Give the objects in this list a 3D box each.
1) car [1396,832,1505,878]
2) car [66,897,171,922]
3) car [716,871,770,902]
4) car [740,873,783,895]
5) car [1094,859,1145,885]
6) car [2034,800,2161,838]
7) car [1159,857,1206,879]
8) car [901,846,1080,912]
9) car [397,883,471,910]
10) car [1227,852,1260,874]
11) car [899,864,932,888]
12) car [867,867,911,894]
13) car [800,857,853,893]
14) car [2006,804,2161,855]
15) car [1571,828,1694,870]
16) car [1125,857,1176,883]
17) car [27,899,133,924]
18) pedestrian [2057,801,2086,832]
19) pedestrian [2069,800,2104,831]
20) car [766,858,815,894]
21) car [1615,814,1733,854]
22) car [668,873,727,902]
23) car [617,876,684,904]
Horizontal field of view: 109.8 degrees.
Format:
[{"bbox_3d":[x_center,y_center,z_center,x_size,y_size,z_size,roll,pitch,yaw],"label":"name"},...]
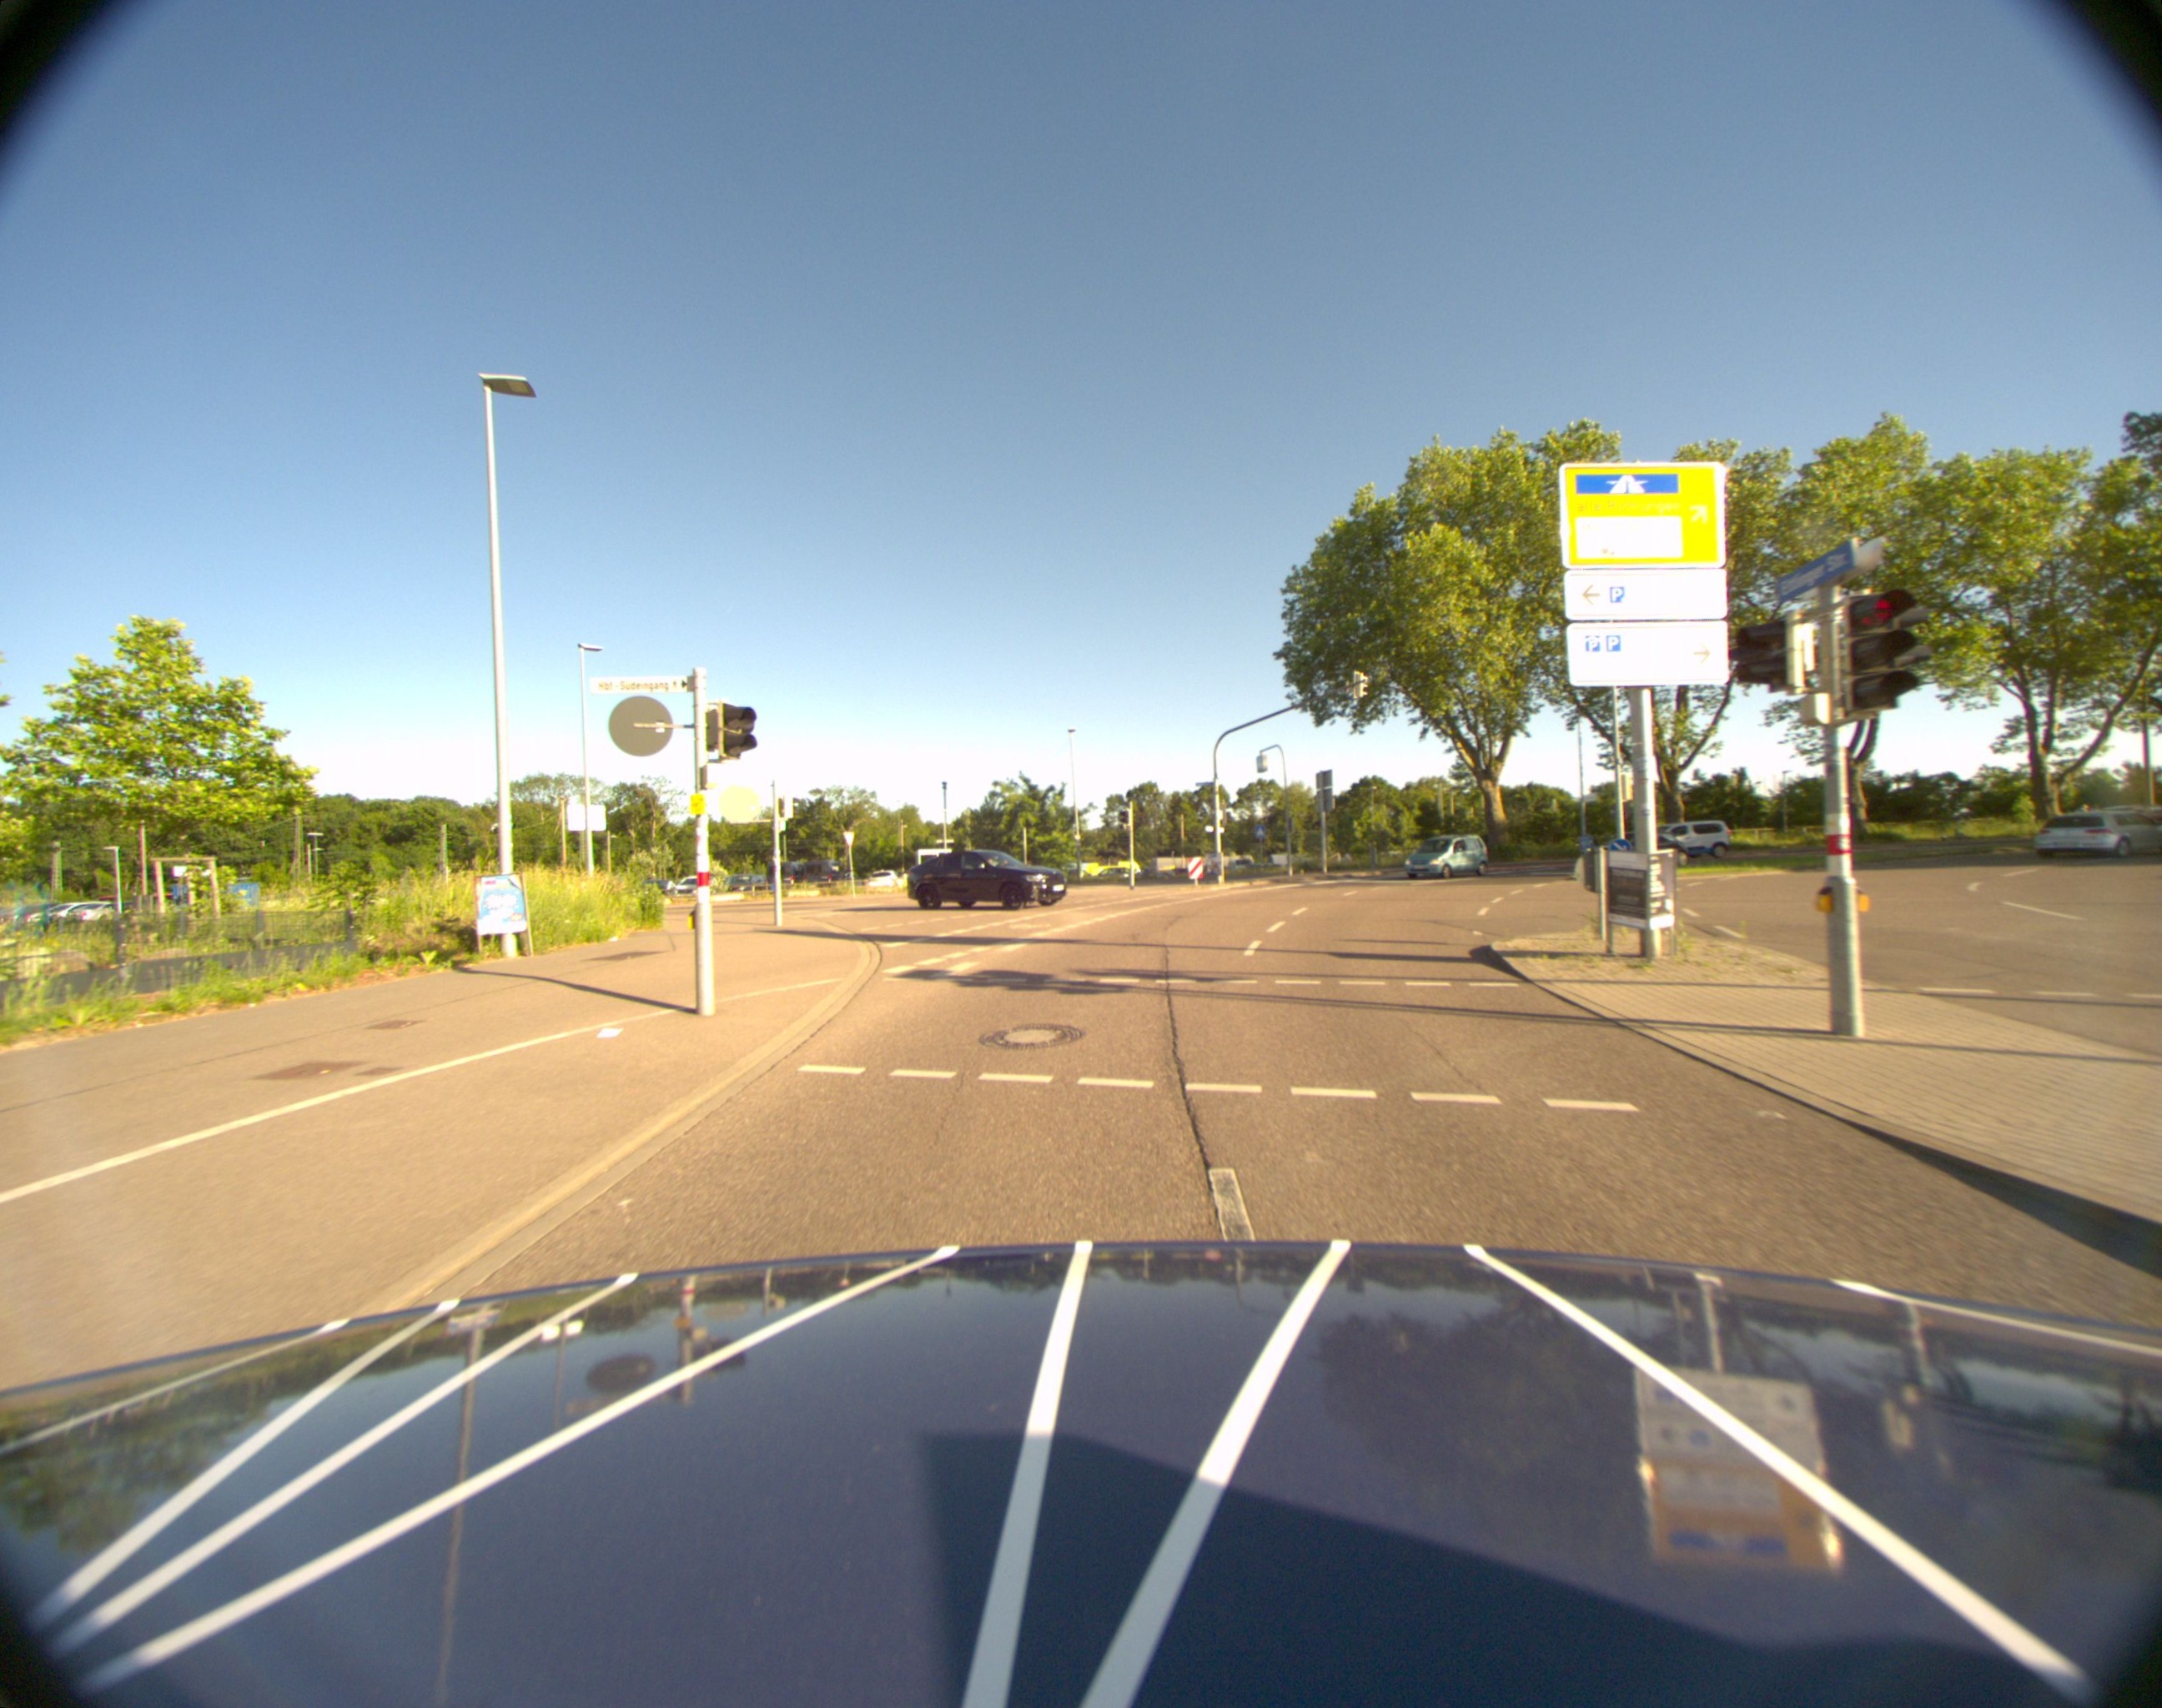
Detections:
[{"bbox_3d":[14.755,0.025,30.282,4.127,1.626,1.916,-3,1,-31],"label":"car"},{"bbox_3d":[-69.103,3.961,54.673,1.946,1.369,4.444,-3,1,-5],"label":"car"},{"bbox_3d":[-20.722,1.940,46.762,1.872,1.645,4.142,-3,0,-8],"label":"car"},{"bbox_3d":[-24.539,2.252,58.548,1.833,1.499,3.751,-3,0,-3],"label":"car"},{"bbox_3d":[2.669,1.275,53.994,2.016,1.655,3.844,-3,0,-25],"label":"car"},{"bbox_3d":[49.525,-1.706,36.729,4.320,1.589,1.860,-3,0,5],"label":"car"},{"bbox_3d":[7.369,1.041,55.591,1.731,1.451,3.994,-3,0,-20],"label":"car"},{"bbox_3d":[-2.649,0.730,21.948,4.739,1.704,2.052,-2,1,28],"label":"car"},{"bbox_3d":[-47.539,3.107,55.982,1.986,1.580,4.200,-3,1,-5],"label":"car"},{"bbox_3d":[14.916,0.828,69.956,2.198,1.827,5.027,-3,0,4],"label":"car"},{"bbox_3d":[-13.862,1.800,63.859,1.986,1.798,4.201,-3,0,-4],"label":"car"},{"bbox_3d":[-12.061,1.606,47.923,1.891,1.502,4.272,-3,0,-4],"label":"car"},{"bbox_3d":[-19.174,1.551,57.517,2.401,2.502,5.510,-3,0,-5],"label":"car"},{"bbox_3d":[32.616,-0.794,24.575,3.938,1.419,1.974,-3,0,-16],"label":"car"},{"bbox_3d":[21.107,-0.181,29.106,3.940,1.419,1.906,-2,0,-19],"label":"car"},{"bbox_3d":[4.963,1.163,54.607,1.843,1.673,3.992,-3,0,-25],"label":"car"},{"bbox_3d":[-71.690,4.074,54.549,1.869,1.369,4.444,-3,1,-5],"label":"car"},{"bbox_3d":[53.383,-2.011,40.944,0.631,1.577,0.665,-3,0,2],"label":"pedestrian"},{"bbox_3d":[53.136,-2.036,40.149,0.803,1.582,0.731,-3,0,2],"label":"pedestrian"},{"bbox_3d":[-21.720,1.620,56.945,2.128,2.452,4.480,-3,0,-5],"label":"car"},{"bbox_3d":[29.312,-0.968,37.679,4.261,1.733,1.860,-3,0,4],"label":"car"},{"bbox_3d":[-23.377,1.995,46.468,1.886,1.601,4.055,-2,-1,-8],"label":"car"},{"bbox_3d":[-26.213,2.137,46.396,1.855,1.506,4.000,-3,-1,-2],"label":"car"}]
